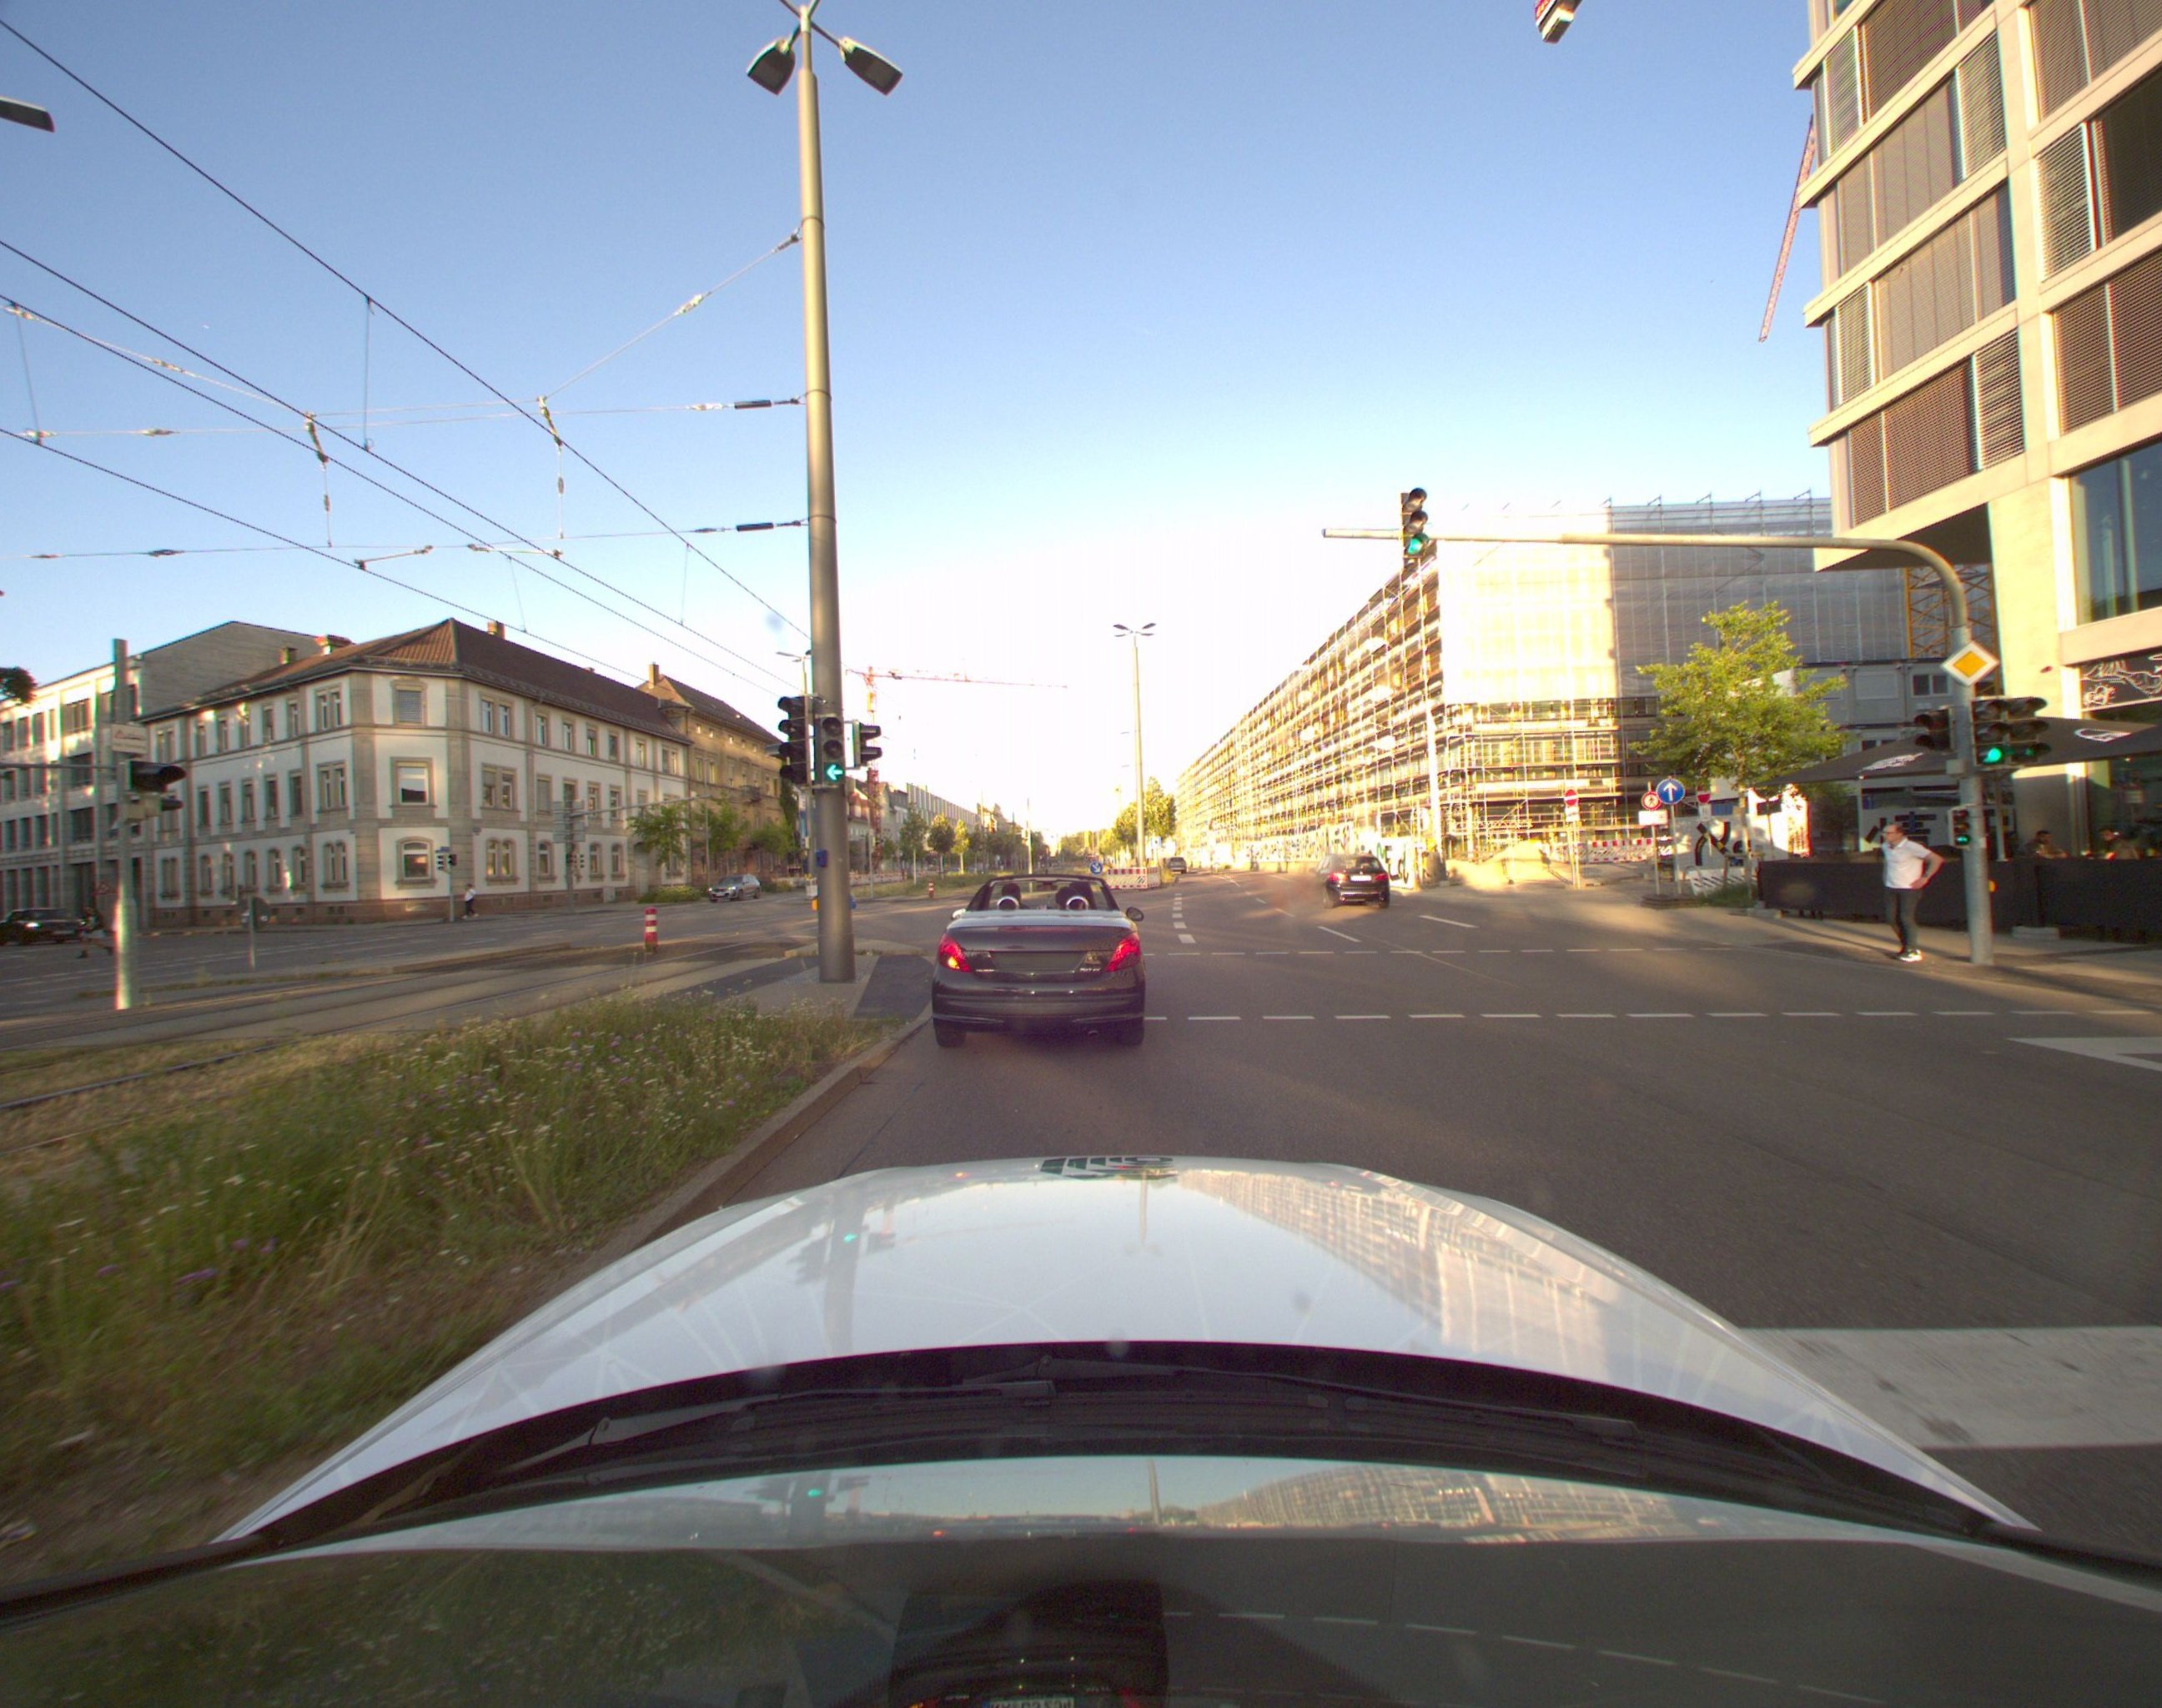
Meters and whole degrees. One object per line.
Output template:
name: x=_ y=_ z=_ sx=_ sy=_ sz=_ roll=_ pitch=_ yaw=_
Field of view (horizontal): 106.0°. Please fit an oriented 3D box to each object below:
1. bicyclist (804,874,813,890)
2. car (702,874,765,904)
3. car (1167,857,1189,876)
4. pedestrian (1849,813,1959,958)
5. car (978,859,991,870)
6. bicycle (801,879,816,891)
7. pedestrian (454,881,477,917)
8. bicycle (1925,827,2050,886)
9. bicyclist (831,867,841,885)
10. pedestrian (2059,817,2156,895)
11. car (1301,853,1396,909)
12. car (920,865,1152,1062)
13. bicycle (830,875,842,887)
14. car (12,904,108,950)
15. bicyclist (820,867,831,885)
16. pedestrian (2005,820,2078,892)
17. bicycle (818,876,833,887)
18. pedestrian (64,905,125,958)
bicyclist: x=-23.128 y=2.377 z=69.160 sx=0.587 sy=1.266 sz=0.460 roll=0 pitch=0 yaw=5
car: x=-21.645 y=2.166 z=50.879 sx=1.987 sy=1.580 sz=4.124 roll=-4 pitch=0 yaw=1
car: x=9.216 y=1.185 z=77.824 sx=1.826 sy=1.672 sz=4.287 roll=-1 pitch=0 yaw=4
pedestrian: x=11.003 y=0.404 z=10.904 sx=0.679 sy=1.847 sz=0.765 roll=-3 pitch=0 yaw=-22
car: x=-17.449 y=1.822 z=146.897 sx=1.651 sy=1.964 sz=4.268 roll=0 pitch=0 yaw=2
bicycle: x=-23.129 y=2.638 z=69.157 sx=0.587 sy=0.989 sz=1.558 roll=0 pitch=0 yaw=5
pedestrian: x=-29.833 y=2.174 z=39.484 sx=0.695 sy=1.716 sz=0.817 roll=-1 pitch=-1 yaw=44
bicycle: x=19.393 y=0.060 z=17.491 sx=0.540 sy=1.210 sz=1.956 roll=0 pitch=-1 yaw=2
bicyclist: x=-21.476 y=1.957 z=71.401 sx=0.588 sy=1.569 sz=0.711 roll=0 pitch=0 yaw=1
pedestrian: x=18.674 y=0.031 z=14.836 sx=0.740 sy=1.319 sz=0.717 roll=-5 pitch=-1 yaw=12
car: x=7.927 y=0.737 z=24.592 sx=1.811 sy=1.519 sz=4.801 roll=-1 pitch=0 yaw=7
car: x=-0.302 y=0.826 z=7.946 sx=1.668 sy=1.352 sz=4.000 roll=-1 pitch=0 yaw=1
bicycle: x=-21.476 y=2.382 z=71.398 sx=0.587 sy=0.975 sz=1.556 roll=0 pitch=0 yaw=1
car: x=-41.126 y=2.902 z=32.794 sx=3.949 sy=1.555 sz=1.801 roll=0 pitch=0 yaw=30
bicyclist: x=-22.610 y=1.928 z=72.055 sx=0.769 sy=1.571 sz=0.793 roll=0 pitch=0 yaw=1
pedestrian: x=18.591 y=0.027 z=15.778 sx=0.608 sy=1.319 sz=0.624 roll=-5 pitch=-1 yaw=18
bicycle: x=-22.610 y=2.410 z=72.050 sx=0.769 sy=0.945 sz=1.640 roll=0 pitch=0 yaw=1
pedestrian: x=-28.584 y=2.223 z=23.601 sx=0.601 sy=1.458 sz=0.937 roll=0 pitch=-1 yaw=3
